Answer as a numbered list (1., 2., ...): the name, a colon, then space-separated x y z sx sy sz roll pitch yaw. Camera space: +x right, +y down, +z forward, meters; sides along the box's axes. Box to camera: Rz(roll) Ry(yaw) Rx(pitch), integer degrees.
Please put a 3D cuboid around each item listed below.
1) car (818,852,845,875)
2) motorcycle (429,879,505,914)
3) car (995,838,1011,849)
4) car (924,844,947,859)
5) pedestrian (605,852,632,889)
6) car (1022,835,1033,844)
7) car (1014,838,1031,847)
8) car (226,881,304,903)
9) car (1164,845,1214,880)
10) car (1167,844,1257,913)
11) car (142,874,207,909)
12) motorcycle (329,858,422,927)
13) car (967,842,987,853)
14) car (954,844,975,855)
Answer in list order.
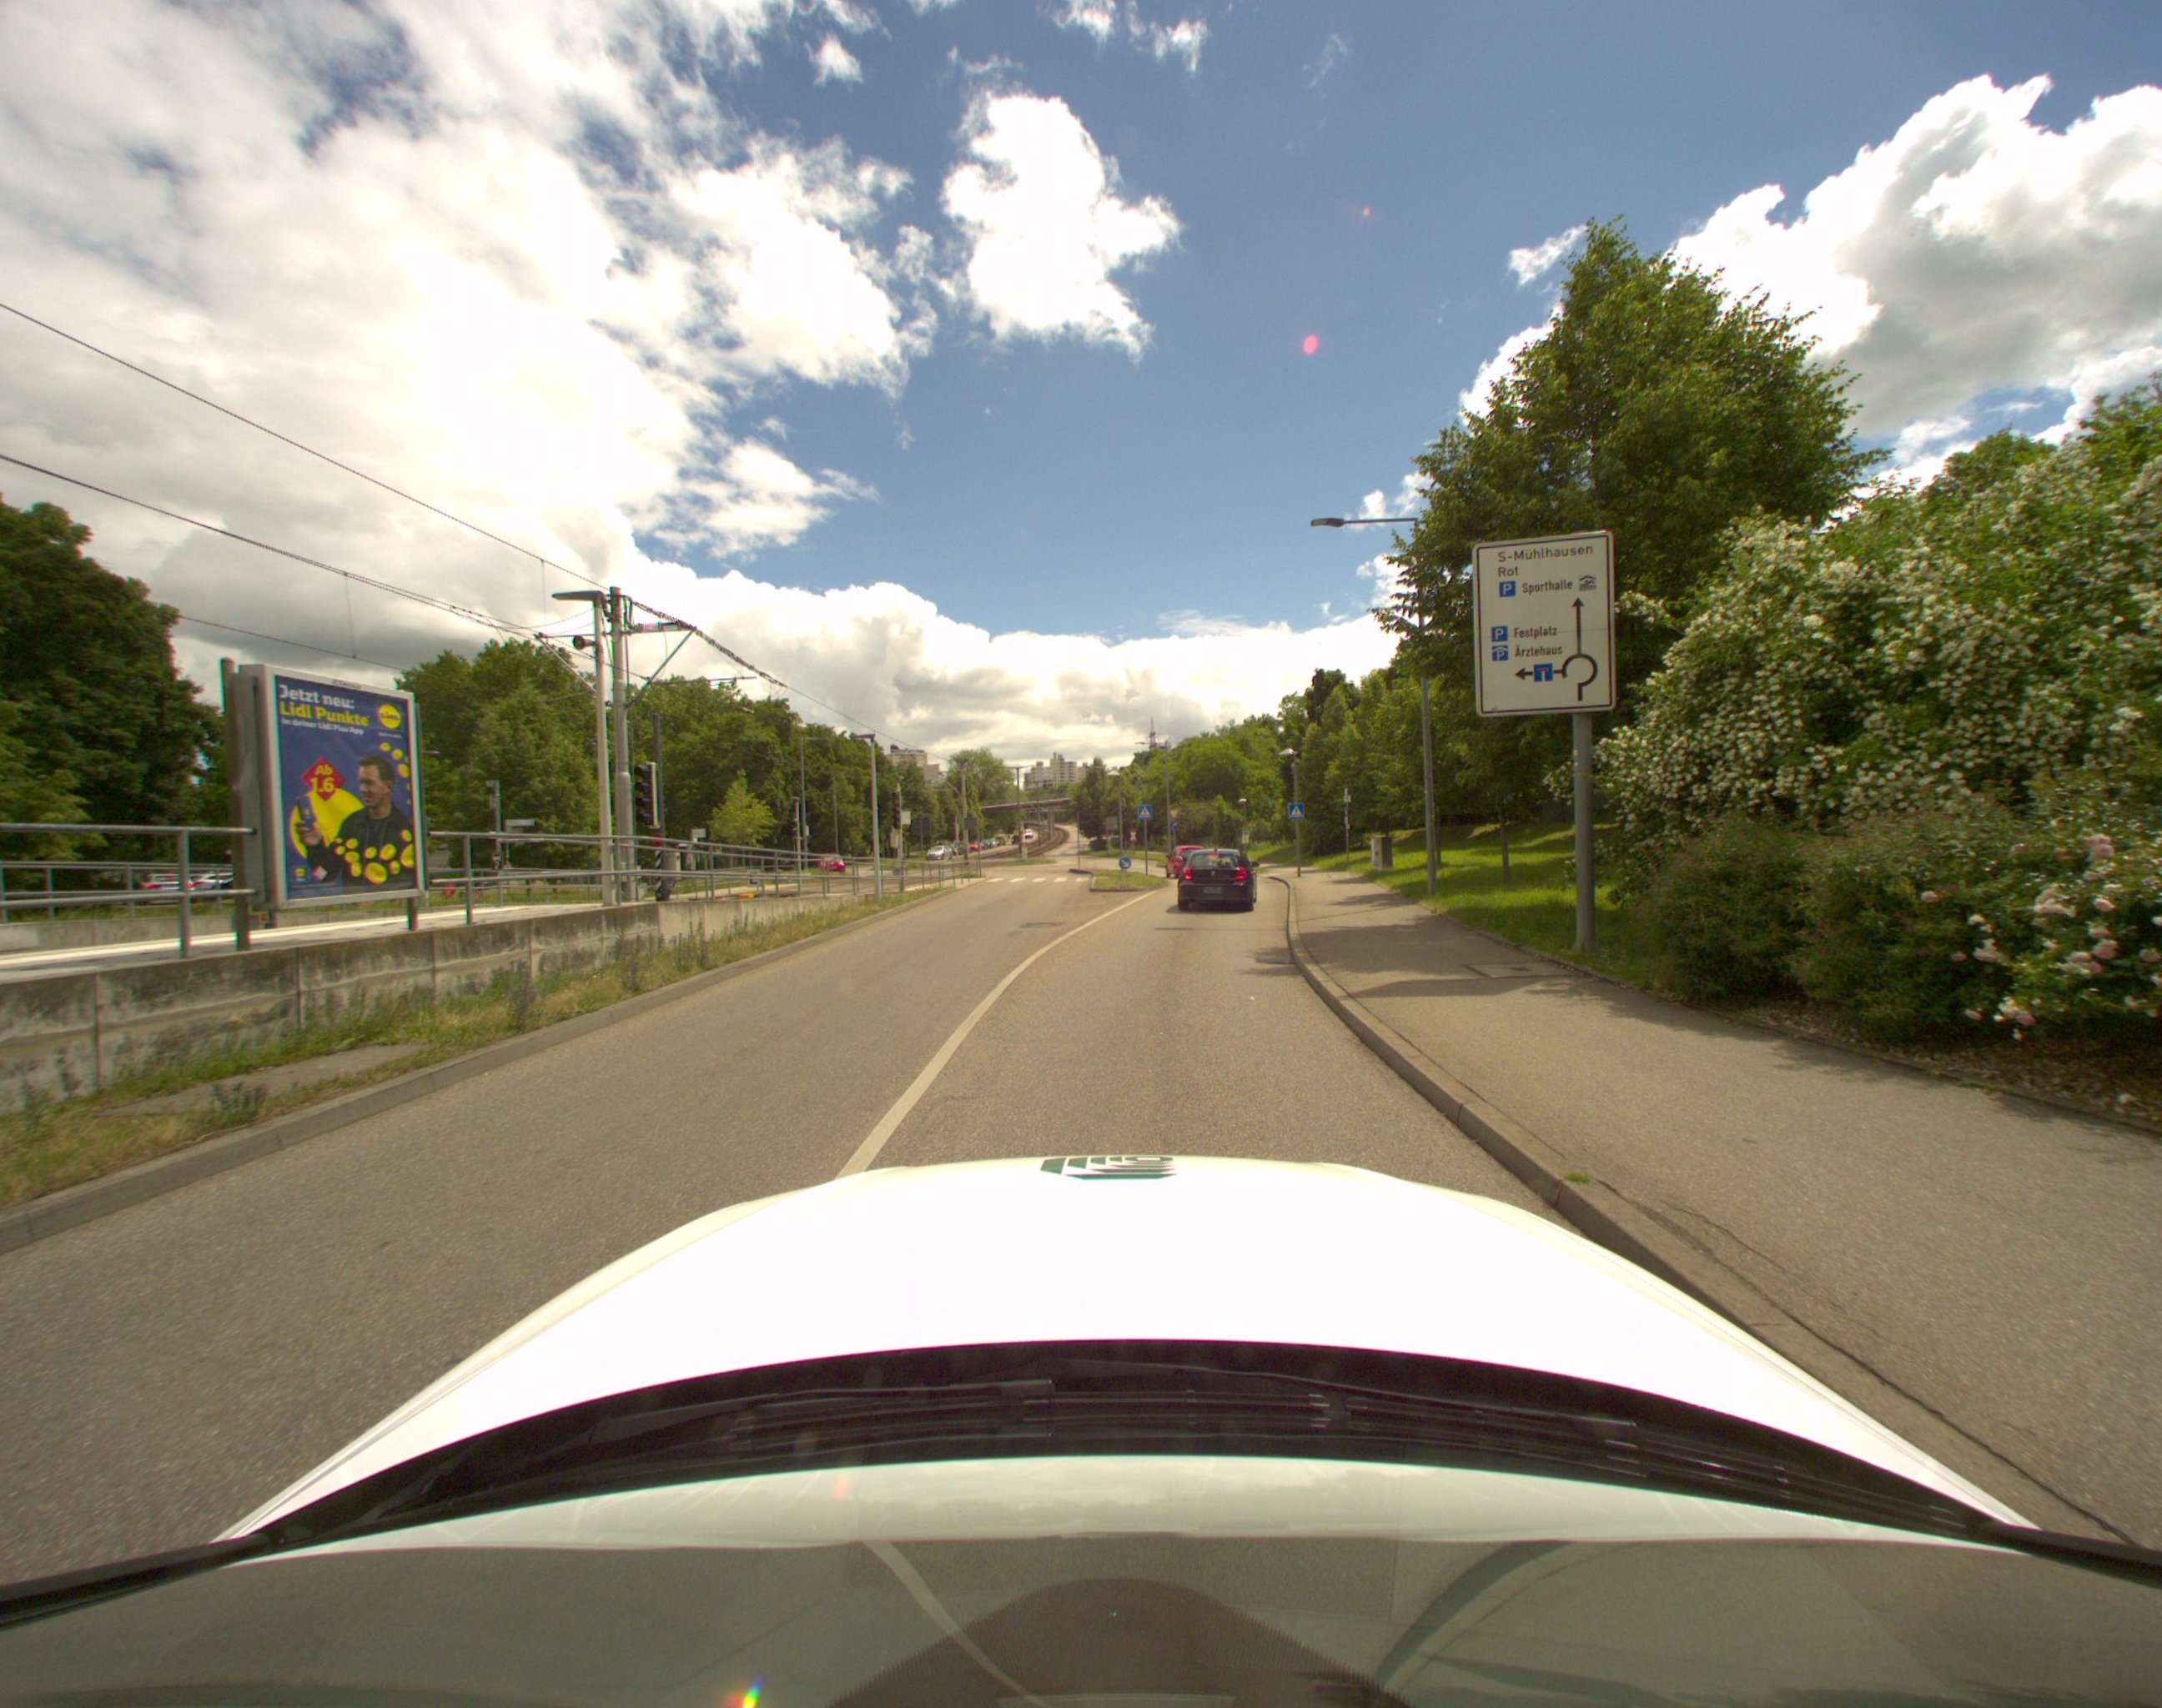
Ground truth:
1. car: -17.747 0.659 57.927 1.725 1.502 2.948 -2 1 -19
2. motorcycle: -21.606 1.470 28.716 0.725 1.081 2.221 -2 1 9
3. car: -13.714 -1.905 143.129 1.984 1.862 4.007 -2 2 5
4. car: -15.059 -0.249 84.274 1.873 1.350 3.826 -3 2 -4
5. pedestrian: -26.139 0.915 46.042 0.952 2.013 0.826 -1 2 21
6. car: -11.966 -3.183 181.824 1.993 2.013 3.988 -2 1 -9
7. car: -10.437 -2.082 145.505 1.983 1.597 4.429 -2 1 7
8. car: -50.265 2.325 50.195 1.398 1.081 3.125 -1 2 34
9. car: 4.852 0.358 36.953 1.760 1.432 3.478 -3 0 -1
10. car: 3.272 0.527 19.724 1.803 1.421 4.014 -3 0 13
11. car: -48.913 1.983 43.925 4.086 1.638 2.013 -1 2 38
12. motorcycle: -21.964 1.160 25.403 0.827 2.013 1.991 -2 1 16
13. car: -14.864 -0.948 116.537 1.903 1.561 4.006 -2 1 5
14. car: -15.181 -0.536 106.295 1.797 1.254 3.574 -2 2 5
